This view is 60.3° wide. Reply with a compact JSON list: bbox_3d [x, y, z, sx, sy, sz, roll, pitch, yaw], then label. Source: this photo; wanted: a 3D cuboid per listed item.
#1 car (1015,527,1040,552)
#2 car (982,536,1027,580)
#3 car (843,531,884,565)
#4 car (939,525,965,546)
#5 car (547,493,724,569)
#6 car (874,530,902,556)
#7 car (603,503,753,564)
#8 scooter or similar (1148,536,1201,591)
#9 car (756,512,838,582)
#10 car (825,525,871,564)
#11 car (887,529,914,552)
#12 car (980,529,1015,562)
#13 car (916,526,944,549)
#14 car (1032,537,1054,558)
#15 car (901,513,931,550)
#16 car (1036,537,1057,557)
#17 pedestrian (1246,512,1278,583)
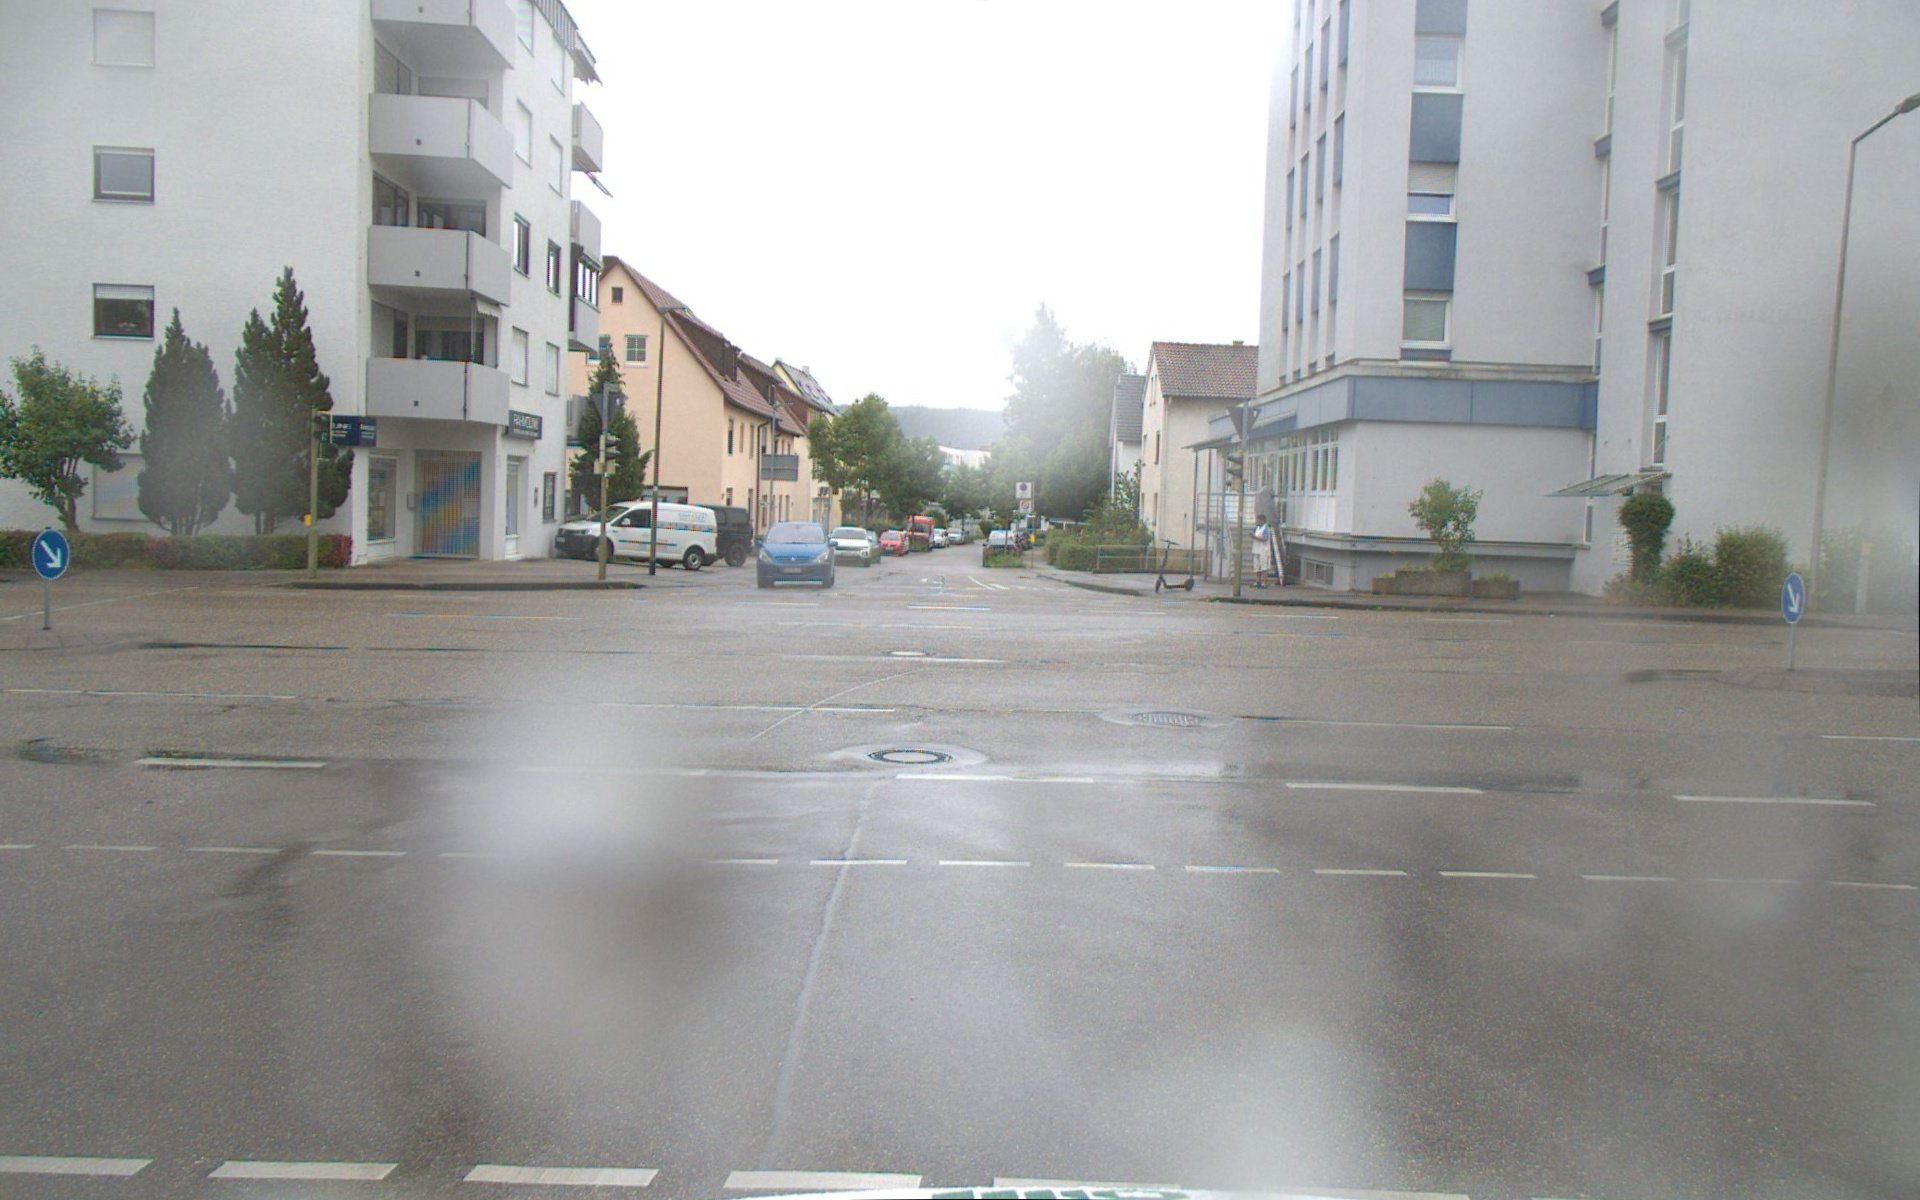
[{"bbox_3d":[5.653,-5.034,137.764,1.951,2.048,4.003,1,2,4],"label":"car"},{"bbox_3d":[2.211,-2.040,81.324,1.951,2.049,4.002,1,0,4],"label":"car"},{"bbox_3d":[-4.608,-2.493,79.283,1.731,1.545,4.195,1,2,0],"label":"car"},{"bbox_3d":[-0.704,-6.015,154.714,1.951,1.736,4.003,1,0,6],"label":"car"},{"bbox_3d":[-9.276,-1.940,47.466,4.684,1.809,1.748,3,0,-40],"label":"car"},{"bbox_3d":[-4.551,-3.582,104.281,1.732,1.545,3.998,0,2,-3],"label":"car"},{"bbox_3d":[-9.259,-2.154,54.508,4.578,1.921,1.935,-1,2,-40],"label":"car"},{"bbox_3d":[5.007,-0.839,38.631,1.039,1.249,0.800,1,0,-10],"label":"scooter or similar"},{"bbox_3d":[-3.777,-1.201,38.738,1.732,1.471,3.997,1,0,-3],"label":"car"},{"bbox_3d":[-4.557,-2.279,67.807,1.732,1.549,3.999,1,2,-2],"label":"car"},{"bbox_3d":[-4.091,-4.025,112.465,1.732,1.545,3.998,0,2,-3],"label":"car"},{"bbox_3d":[2.339,-3.414,103.636,1.951,2.048,4.003,1,2,4],"label":"car"},{"bbox_3d":[-2.520,-5.231,138.743,1.951,1.713,4.002,1,0,4],"label":"car"},{"bbox_3d":[8.137,-5.152,162.076,1.951,2.048,4.003,1,2,4],"label":"car"},{"bbox_3d":[-3.371,-5.245,127.246,2.171,2.816,5.725,0,2,-1],"label":"car"},{"bbox_3d":[8.927,-5.452,170.599,1.951,2.048,4.003,1,2,4],"label":"car"},{"bbox_3d":[7.263,-1.259,39.790,0.641,1.680,0.646,1,-1,0],"label":"pedestrian"}]
